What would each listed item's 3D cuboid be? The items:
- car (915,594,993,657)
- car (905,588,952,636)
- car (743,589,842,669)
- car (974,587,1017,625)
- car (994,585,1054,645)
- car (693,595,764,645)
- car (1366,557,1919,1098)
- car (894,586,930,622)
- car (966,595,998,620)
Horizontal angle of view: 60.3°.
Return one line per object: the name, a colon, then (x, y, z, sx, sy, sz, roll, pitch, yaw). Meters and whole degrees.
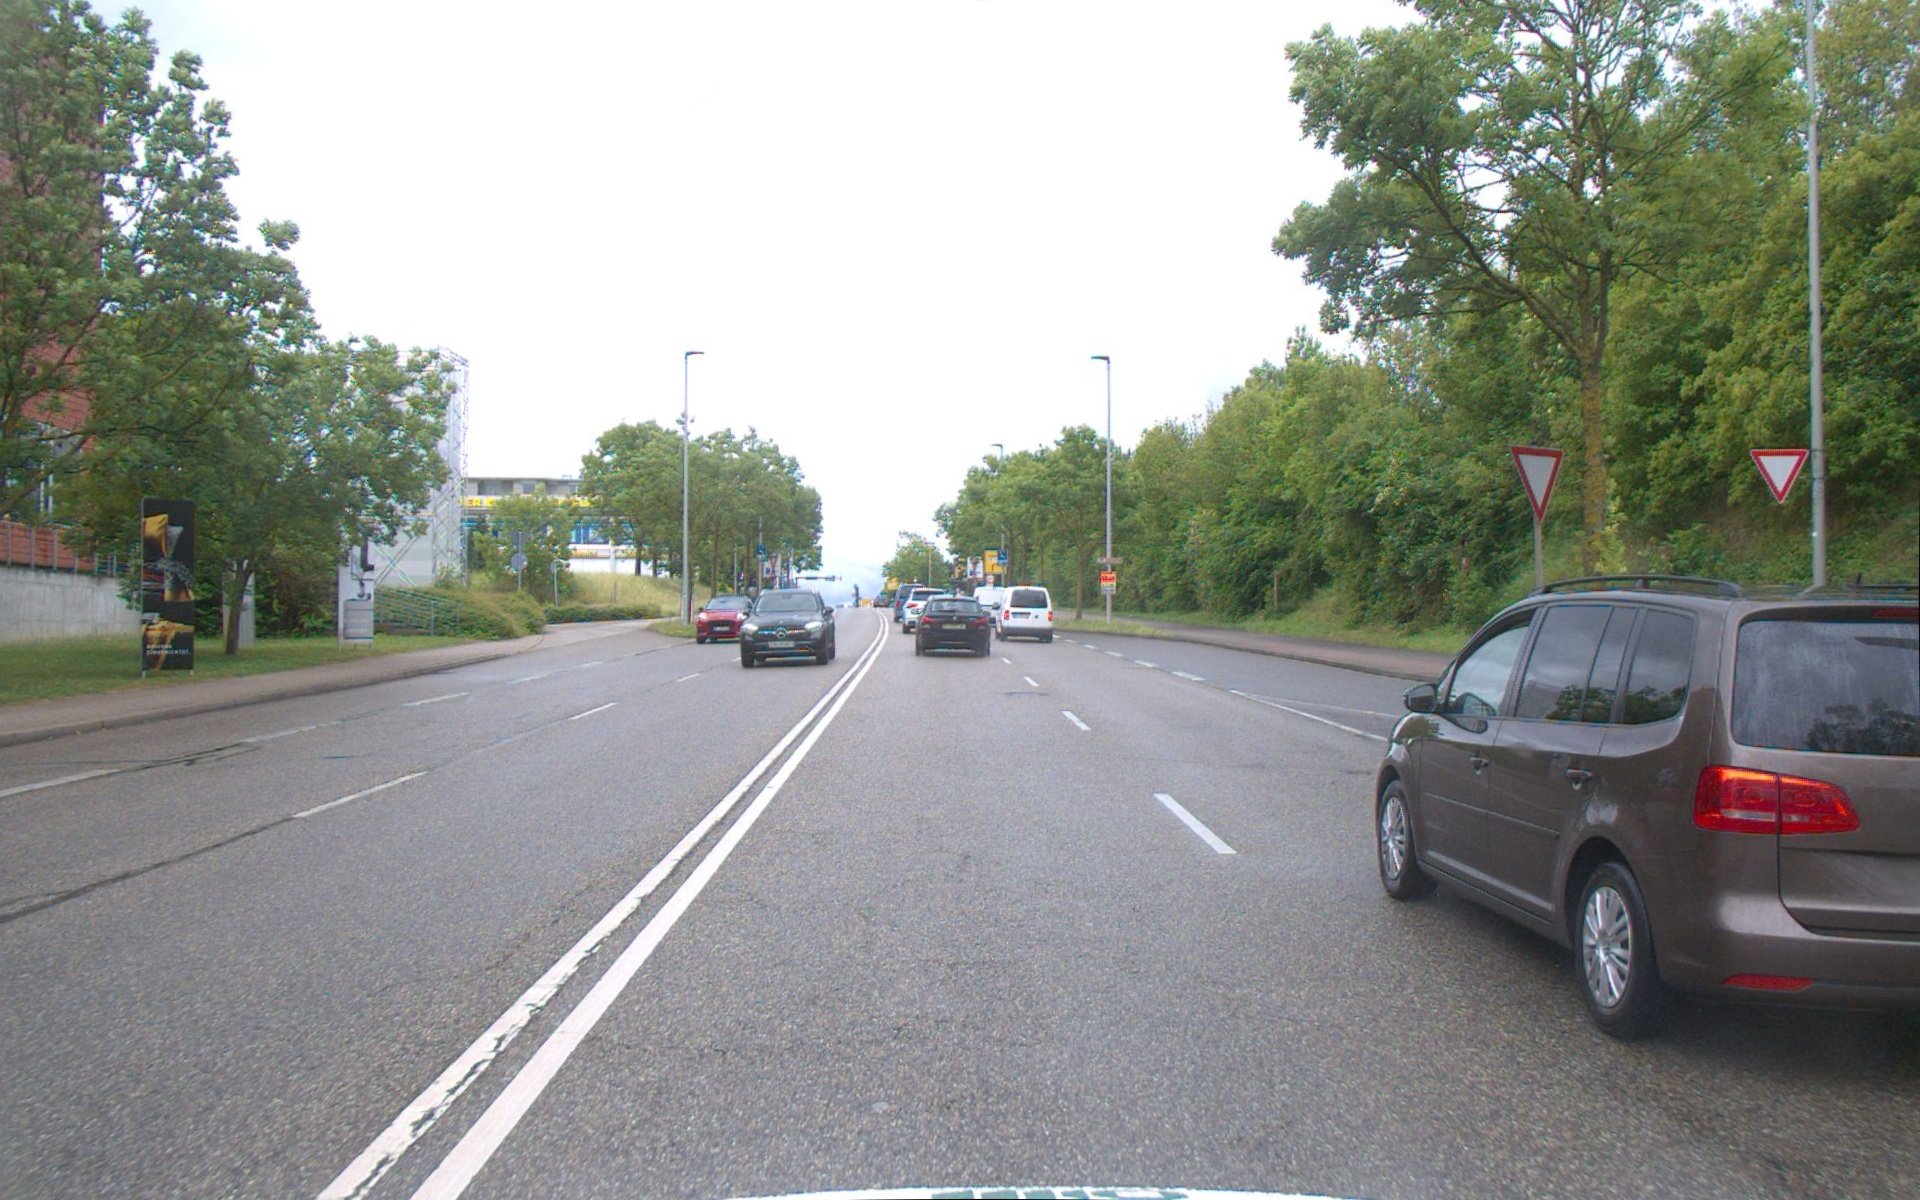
car: (-0.204, 0.602, 41.086, 1.817, 1.444, 3.955, 1, 0, -2)
car: (-1.163, 0.429, 61.733, 1.693, 1.741, 3.382, 1, 0, -1)
car: (-3.657, 0.592, 36.788, 1.821, 1.605, 4.319, -2, 0, -1)
car: (1.625, 0.250, 77.652, 1.778, 1.738, 3.944, 0, 0, -2)
car: (2.109, 0.485, 55.526, 1.706, 1.902, 3.944, 1, 0, -2)
car: (-7.589, 0.637, 54.456, 1.641, 1.533, 4.217, -1, 0, 1)
car: (3.143, 0.699, 7.076, 1.679, 1.624, 4.129, 1, 0, -2)
car: (-2.406, 0.202, 82.418, 1.723, 1.738, 3.944, 0, 0, -2)
car: (1.225, 0.402, 92.991, 1.568, 1.396, 3.678, -1, 0, -3)
